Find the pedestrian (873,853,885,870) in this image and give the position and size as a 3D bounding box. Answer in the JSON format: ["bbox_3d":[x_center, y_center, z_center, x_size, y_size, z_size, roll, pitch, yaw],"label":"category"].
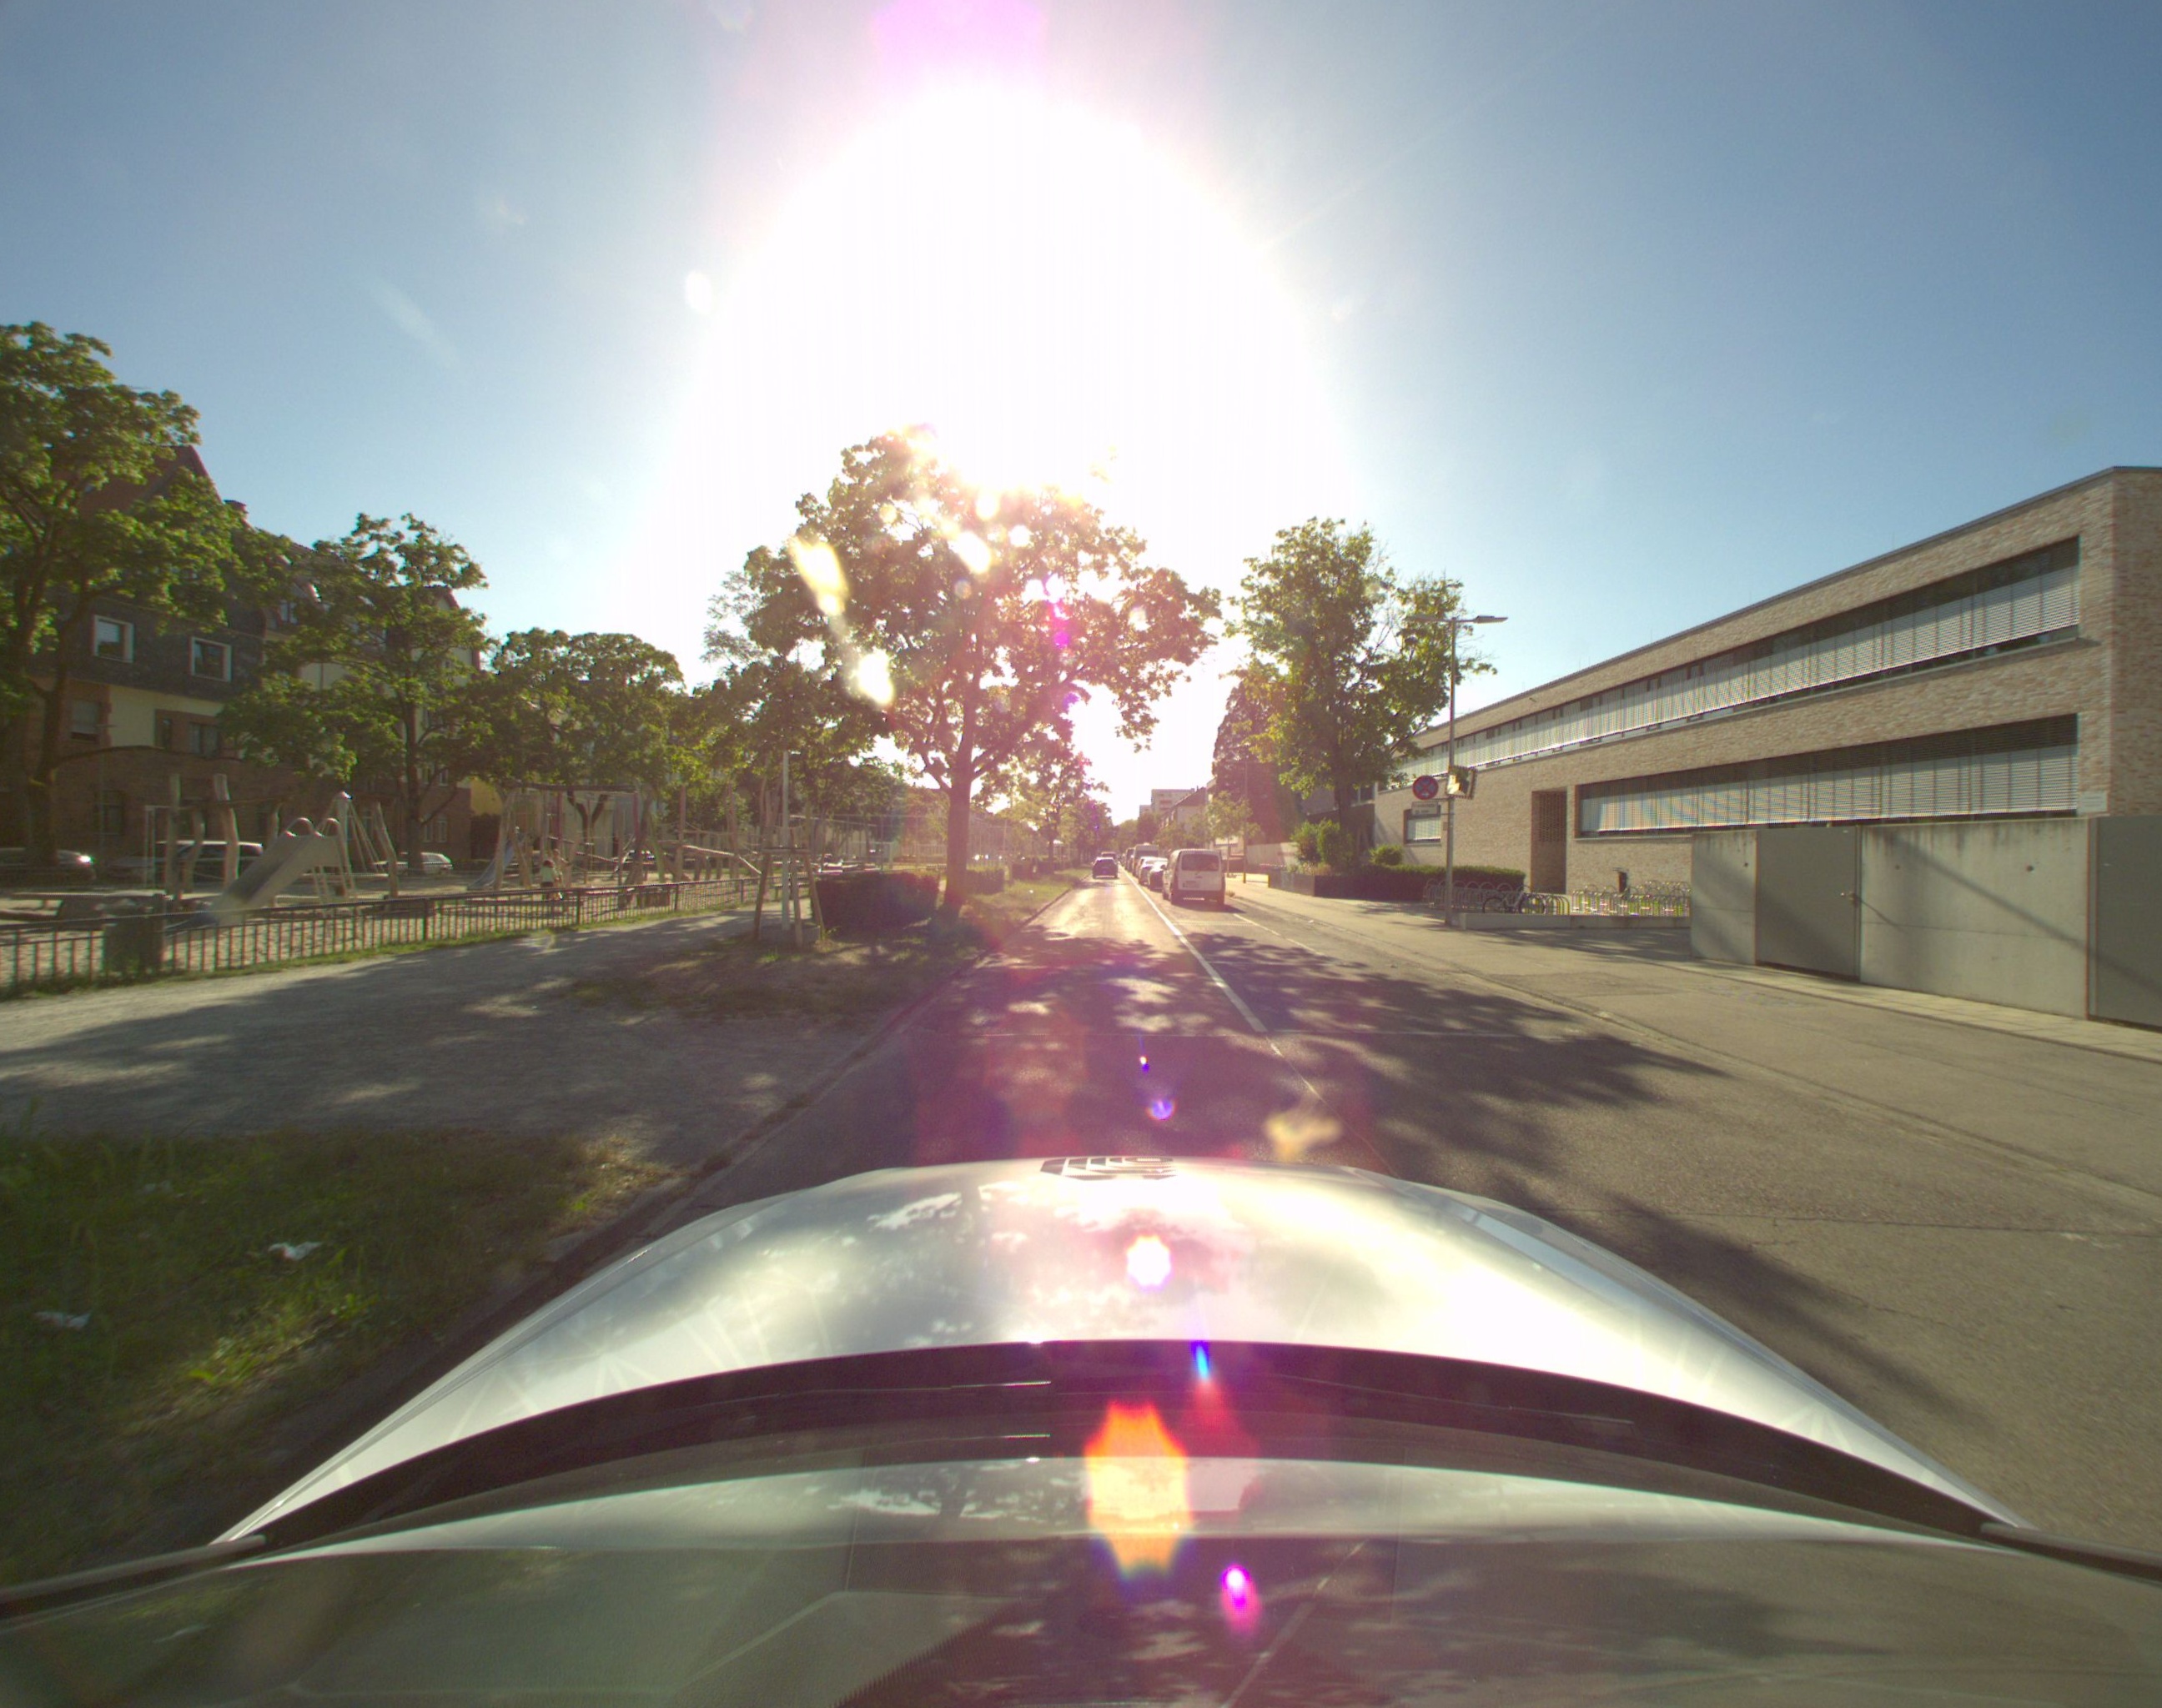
[{"bbox_3d":[-16.137,0.617,65.083,0.642,1.318,0.654,1,0,31],"label":"pedestrian"}]

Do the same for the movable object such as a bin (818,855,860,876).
[{"bbox_3d":[-15.105,0.705,50.961,2.324,1.242,1.055,0,0,-2],"label":"movable object such as a bin"}]

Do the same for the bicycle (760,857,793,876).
[{"bbox_3d":[-18.454,0.773,49.384,1.788,1.107,0.500,1,0,0],"label":"bicycle"}]

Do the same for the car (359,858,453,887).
[{"bbox_3d":[-37.864,1.006,45.817,1.787,1.510,4.002,1,0,2],"label":"car"}]

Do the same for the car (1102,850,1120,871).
[{"bbox_3d":[3.061,0.655,82.956,1.787,2.122,4.002,1,0,2],"label":"car"}]

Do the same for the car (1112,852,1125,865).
[{"bbox_3d":[5.942,0.699,128.223,1.786,1.855,4.418,1,0,4],"label":"car"}]

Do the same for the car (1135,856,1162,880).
[{"bbox_3d":[4.741,0.944,57.387,1.614,1.588,3.591,1,0,0],"label":"car"}]

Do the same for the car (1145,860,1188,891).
[{"bbox_3d":[3.973,0.963,38.511,1.695,1.325,4.131,1,0,2],"label":"car"}]

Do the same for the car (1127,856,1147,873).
[{"bbox_3d":[5.615,1.083,82.223,1.839,1.640,4.505,0,0,1],"label":"car"}]

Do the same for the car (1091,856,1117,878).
[{"bbox_3d":[1.691,0.901,58.190,1.787,1.510,4.002,1,0,2],"label":"car"}]

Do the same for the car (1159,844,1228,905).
[{"bbox_3d":[3.824,0.668,28.314,1.802,1.908,4.461,1,0,1],"label":"car"}]

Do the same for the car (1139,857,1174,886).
[{"bbox_3d":[4.088,0.912,44.623,1.695,1.478,4.176,1,0,2],"label":"car"}]

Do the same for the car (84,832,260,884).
[{"bbox_3d":[-37.929,0.160,34.211,1.787,1.982,4.838,1,0,2],"label":"car"}]

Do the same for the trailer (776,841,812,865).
[{"bbox_3d":[-36.069,-0.165,102.486,2.334,2.870,5.804,1,0,1],"label":"trailer"}]

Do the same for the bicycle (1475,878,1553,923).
[{"bbox_3d":[10.871,1.169,20.454,1.663,1.030,0.500,2,0,-1],"label":"bicycle"}]

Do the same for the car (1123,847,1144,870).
[{"bbox_3d":[6.013,0.507,94.764,2.108,2.516,6.532,0,0,1],"label":"car"}]

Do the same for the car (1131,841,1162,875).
[{"bbox_3d":[5.187,0.307,64.992,2.232,2.574,5.435,1,0,2],"label":"car"}]

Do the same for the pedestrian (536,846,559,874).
[{"bbox_3d":[-25.474,0.306,38.923,0.646,1.318,0.650,1,0,-1],"label":"pedestrian"}]

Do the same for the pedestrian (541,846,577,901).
[{"bbox_3d":[-16.010,0.585,24.981,0.642,1.661,0.653,1,0,20],"label":"pedestrian"}]

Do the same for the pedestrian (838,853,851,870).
[{"bbox_3d":[-18.641,0.578,64.153,0.642,1.318,0.654,1,0,31],"label":"pedestrian"}]

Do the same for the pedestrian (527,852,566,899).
[{"bbox_3d":[-15.438,0.600,23.520,0.642,1.329,0.653,1,0,20],"label":"pedestrian"}]
